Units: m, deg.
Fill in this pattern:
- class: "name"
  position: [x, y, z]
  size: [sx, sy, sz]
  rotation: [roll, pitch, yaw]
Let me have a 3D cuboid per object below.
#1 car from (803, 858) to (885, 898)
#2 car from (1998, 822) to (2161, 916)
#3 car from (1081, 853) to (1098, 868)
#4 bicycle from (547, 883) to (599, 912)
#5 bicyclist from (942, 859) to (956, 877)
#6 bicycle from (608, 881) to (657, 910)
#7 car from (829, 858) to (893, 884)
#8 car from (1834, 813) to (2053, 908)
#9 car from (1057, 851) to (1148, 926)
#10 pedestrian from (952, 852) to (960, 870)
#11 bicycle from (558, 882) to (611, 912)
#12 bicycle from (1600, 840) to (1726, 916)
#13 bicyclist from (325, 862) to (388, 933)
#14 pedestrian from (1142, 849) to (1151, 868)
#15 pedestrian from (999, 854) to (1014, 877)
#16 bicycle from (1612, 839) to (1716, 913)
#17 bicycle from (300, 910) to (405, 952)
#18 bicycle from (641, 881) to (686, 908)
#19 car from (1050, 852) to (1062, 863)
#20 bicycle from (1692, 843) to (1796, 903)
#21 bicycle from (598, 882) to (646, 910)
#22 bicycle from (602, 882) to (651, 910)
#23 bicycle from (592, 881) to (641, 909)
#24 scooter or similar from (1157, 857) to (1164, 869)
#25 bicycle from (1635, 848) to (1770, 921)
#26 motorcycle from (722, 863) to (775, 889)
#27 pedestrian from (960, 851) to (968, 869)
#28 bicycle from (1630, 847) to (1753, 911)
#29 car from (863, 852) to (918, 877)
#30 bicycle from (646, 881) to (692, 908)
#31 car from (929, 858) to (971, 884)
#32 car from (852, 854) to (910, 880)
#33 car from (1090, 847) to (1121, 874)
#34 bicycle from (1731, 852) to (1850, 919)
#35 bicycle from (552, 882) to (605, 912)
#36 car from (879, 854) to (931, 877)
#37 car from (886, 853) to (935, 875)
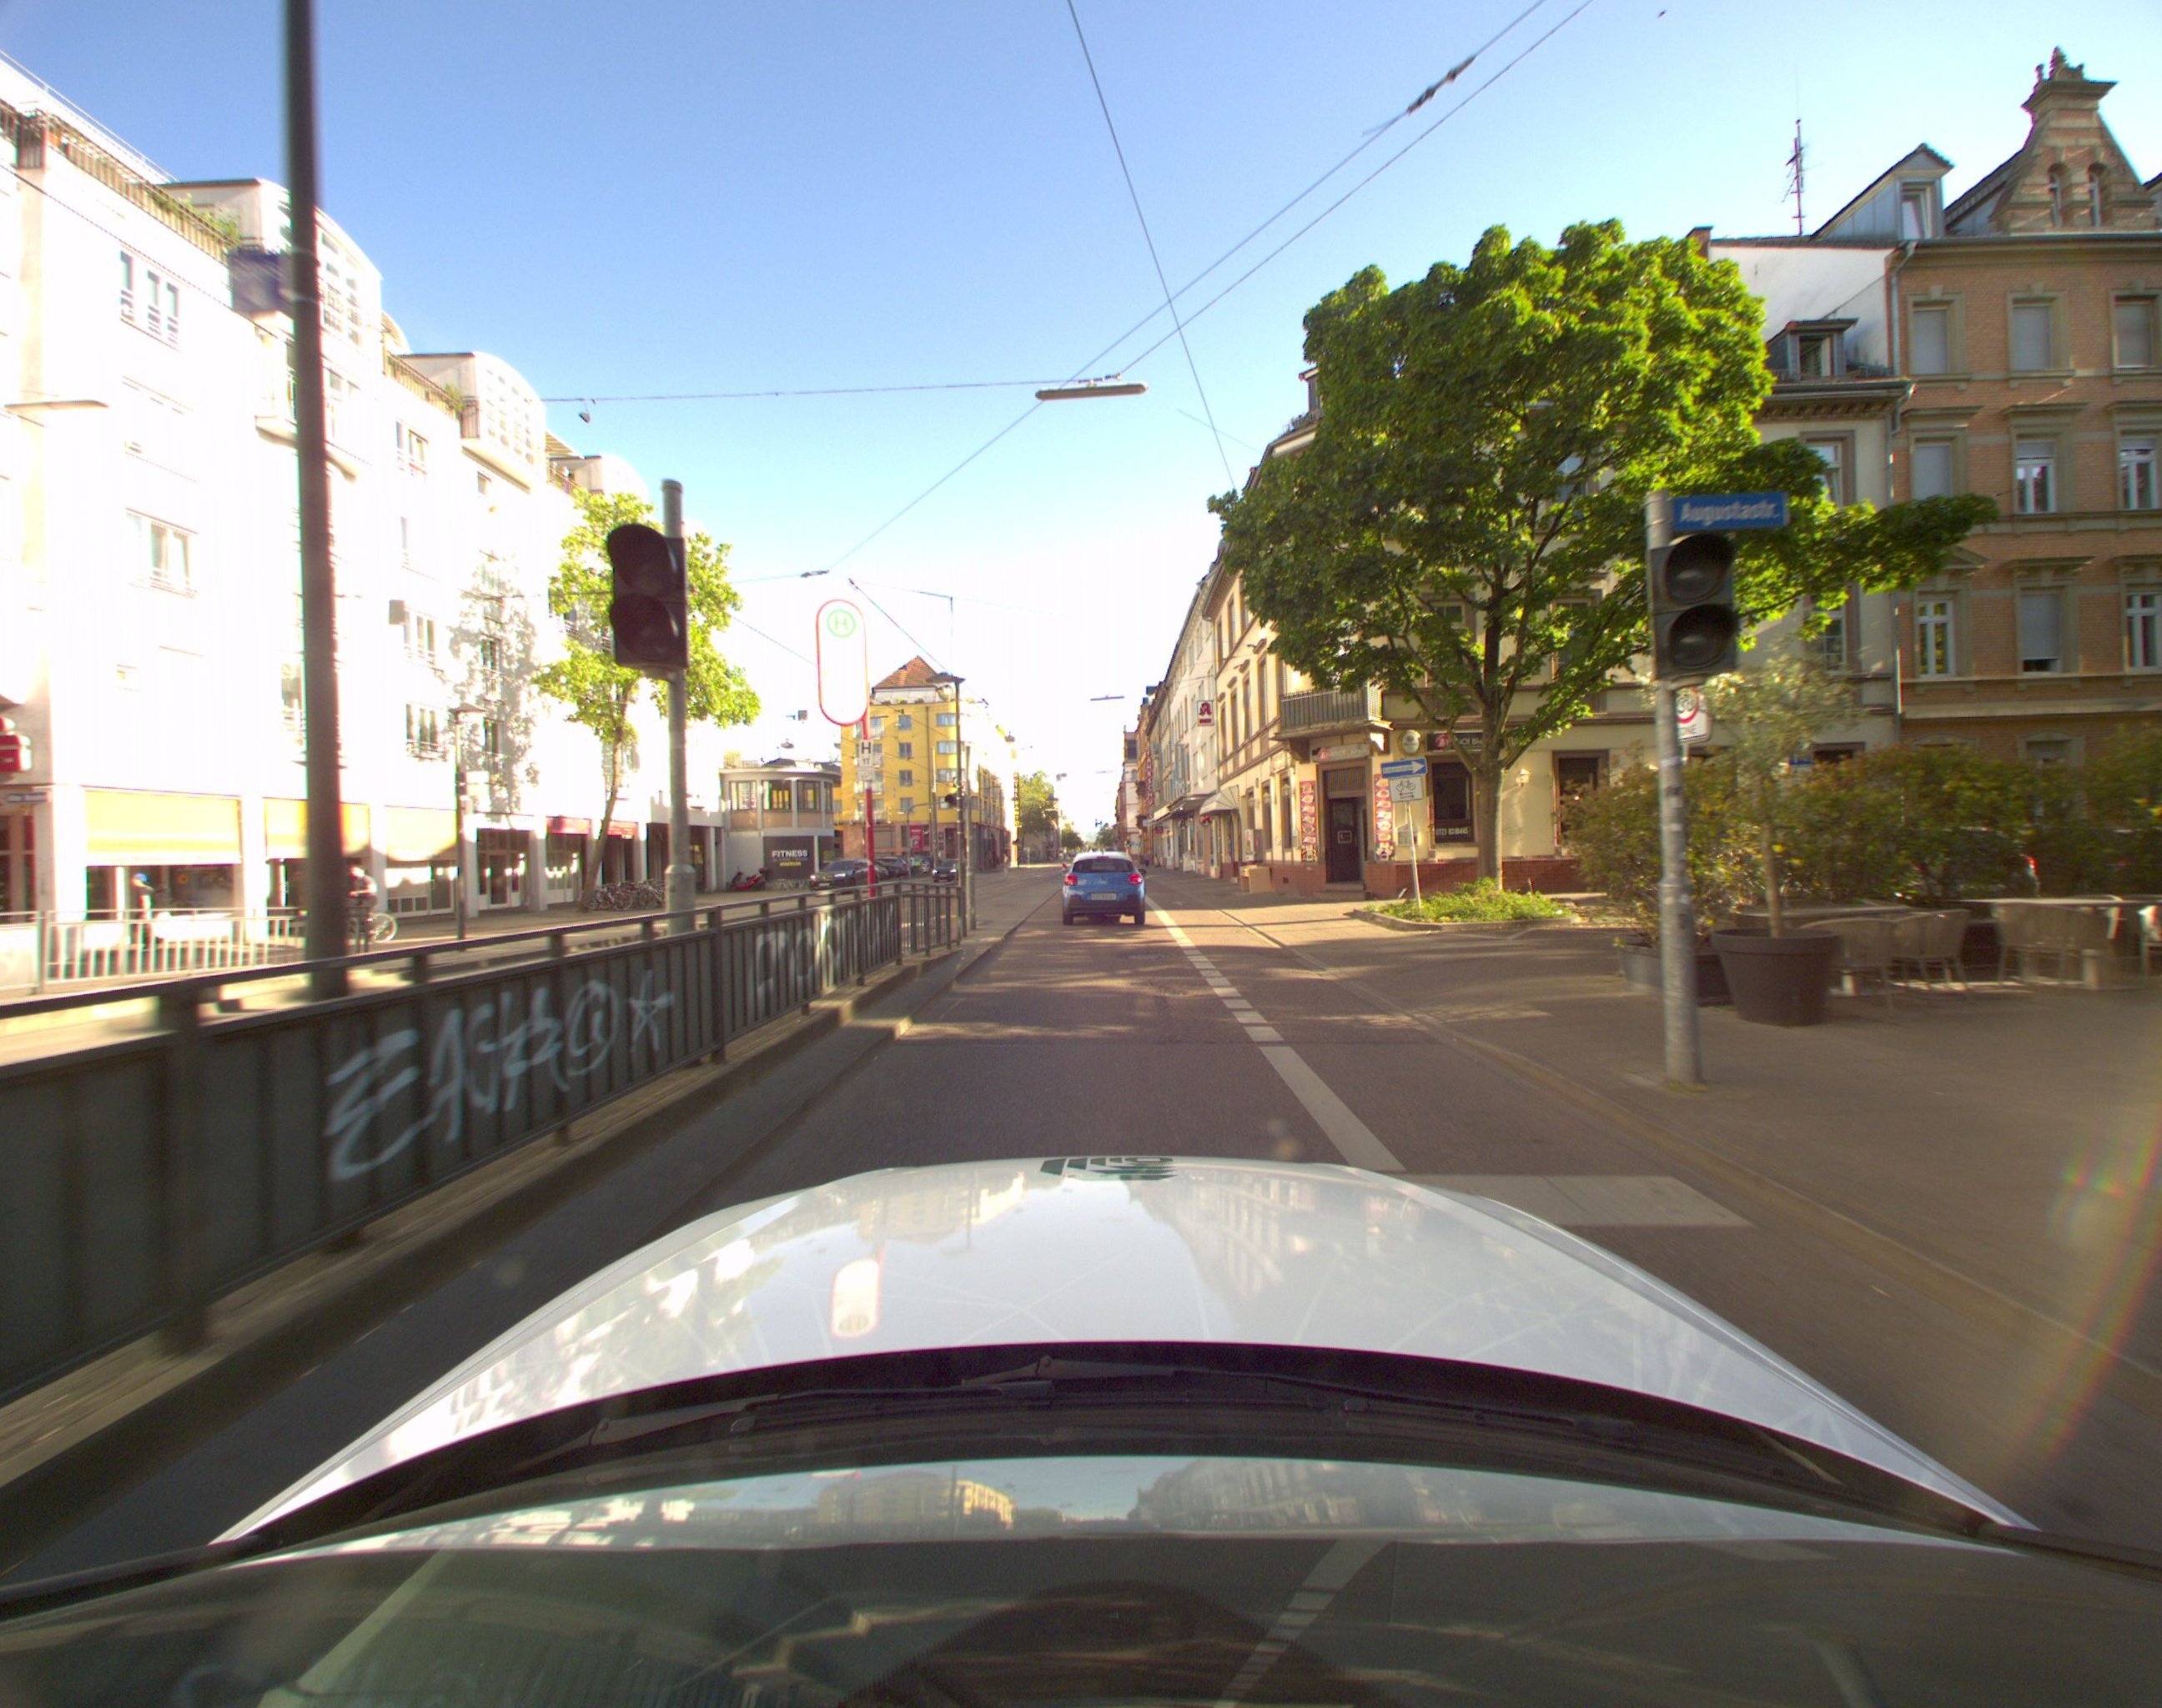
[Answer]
- class: "car"
  position: [-11.155, 1.071, 38.757]
  size: [1.742, 1.615, 4.840]
  rotation: [-3, 0, 9]
- class: "car"
  position: [18.685, 0.259, 14.671]
  size: [1.686, 1.511, 3.837]
  rotation: [0, -1, 29]
- class: "car"
  position: [1.037, 0.801, 96.992]
  size: [1.986, 1.743, 4.001]
  rotation: [0, -1, 2]
- class: "bicycle"
  position: [-18.044, 1.525, 28.943]
  size: [0.387, 0.941, 1.505]
  rotation: [-2, 0, 37]
- class: "bicyclist"
  position: [-10.062, 1.058, 62.137]
  size: [0.727, 1.291, 1.181]
  rotation: [-2, 0, 2]
- class: "bicycle"
  position: [-16.305, 1.491, 29.616]
  size: [0.387, 0.941, 1.505]
  rotation: [-2, 0, 37]
- class: "car"
  position: [-15.619, 1.188, 57.865]
  size: [3.977, 1.674, 1.956]
  rotation: [-2, 0, -2]
- class: "car"
  position: [15.642, 0.132, 15.035]
  size: [1.686, 1.511, 3.837]
  rotation: [0, -1, 29]
- class: "car"
  position: [0.471, 0.663, 17.692]
  size: [1.774, 1.451, 3.655]
  rotation: [0, 0, 2]
- class: "pedestrian"
  position: [-12.798, 0.680, 83.490]
  size: [0.695, 1.830, 0.837]
  rotation: [-2, 0, -11]
- class: "bicycle"
  position: [-17.294, 1.497, 28.376]
  size: [0.387, 0.941, 1.505]
  rotation: [-2, 0, 37]
- class: "bicycle"
  position: [10.559, 0.412, 14.848]
  size: [1.825, 1.293, 0.349]
  rotation: [2, 4, 35]
- class: "bicyclist"
  position: [-16.511, 0.984, 18.575]
  size: [0.669, 1.557, 0.778]
  rotation: [-2, 0, 2]
- class: "pedestrian"
  position: [5.881, 0.423, 73.087]
  size: [0.690, 1.651, 0.680]
  rotation: [-2, 0, 0]
- class: "pedestrian"
  position: [-5.565, 0.868, 60.783]
  size: [0.842, 1.654, 0.691]
  rotation: [-2, 0, -27]
- class: "bicycle"
  position: [10.943, 0.392, 15.340]
  size: [1.551, 1.293, 0.349]
  rotation: [2, 4, 35]
- class: "bicycle"
  position: [-16.538, 1.731, 18.550]
  size: [0.564, 0.757, 1.939]
  rotation: [-2, 0, 3]
- class: "bicycle"
  position: [-16.090, 1.548, 31.410]
  size: [0.387, 0.941, 1.505]
  rotation: [-2, 0, 37]
- class: "car"
  position: [-4.634, 0.706, 150.135]
  size: [1.987, 2.014, 3.999]
  rotation: [0, -1, 0]
- class: "bicycle"
  position: [13.311, 0.370, 16.397]
  size: [1.573, 1.123, 0.349]
  rotation: [2, 4, 35]
- class: "bicycle"
  position: [-16.974, 1.551, 30.127]
  size: [0.387, 0.941, 1.505]
  rotation: [-2, 0, 37]
- class: "bicycle"
  position: [-16.647, 1.524, 29.874]
  size: [0.387, 0.941, 1.505]
  rotation: [-2, 0, 37]
- class: "bicycle"
  position: [-17.314, 1.509, 30.377]
  size: [0.387, 0.941, 1.505]
  rotation: [-2, 0, 37]
- class: "scooter or similar"
  position: [6.696, 0.753, 68.764]
  size: [0.510, 0.959, 1.853]
  rotation: [-2, 0, 3]
- class: "bicycle"
  position: [10.806, 0.511, 14.227]
  size: [1.825, 1.160, 0.349]
  rotation: [2, 4, 35]
- class: "motorcycle"
  position: [-17.648, 1.175, 43.286]
  size: [2.506, 1.288, 0.668]
  rotation: [-2, 0, -2]
- class: "pedestrian"
  position: [-11.964, 0.622, 83.447]
  size: [0.695, 1.858, 0.837]
  rotation: [-2, 0, -11]
- class: "bicycle"
  position: [11.577, 0.451, 15.513]
  size: [1.825, 1.123, 0.349]
  rotation: [2, 4, 35]
- class: "car"
  position: [-15.243, 0.803, 65.364]
  size: [3.977, 1.848, 1.956]
  rotation: [-2, 0, -2]
- class: "bicycle"
  position: [-15.732, 1.543, 31.130]
  size: [0.387, 0.941, 1.505]
  rotation: [-2, 0, 37]
- class: "car"
  position: [-8.796, 1.113, 54.898]
  size: [1.943, 1.486, 4.003]
  rotation: [-3, 0, 3]
- class: "car"
  position: [-15.347, 0.950, 62.724]
  size: [3.977, 1.848, 1.956]
  rotation: [-2, 0, -2]
- class: "car"
  position: [1.648, 0.426, 54.480]
  size: [1.986, 1.743, 4.001]
  rotation: [0, -1, 2]
- class: "bicycle"
  position: [12.378, 0.526, 14.253]
  size: [1.512, 1.068, 0.349]
  rotation: [2, 4, 35]
- class: "bicycle"
  position: [-17.682, 1.511, 28.677]
  size: [0.387, 0.941, 1.505]
  rotation: [-2, 0, 37]
- class: "car"
  position: [-15.130, 0.972, 70.072]
  size: [3.977, 1.848, 1.956]
  rotation: [-2, 0, -2]
- class: "car"
  position: [-15.262, 0.906, 73.146]
  size: [3.977, 1.848, 1.956]
  rotation: [-2, 0, -2]
